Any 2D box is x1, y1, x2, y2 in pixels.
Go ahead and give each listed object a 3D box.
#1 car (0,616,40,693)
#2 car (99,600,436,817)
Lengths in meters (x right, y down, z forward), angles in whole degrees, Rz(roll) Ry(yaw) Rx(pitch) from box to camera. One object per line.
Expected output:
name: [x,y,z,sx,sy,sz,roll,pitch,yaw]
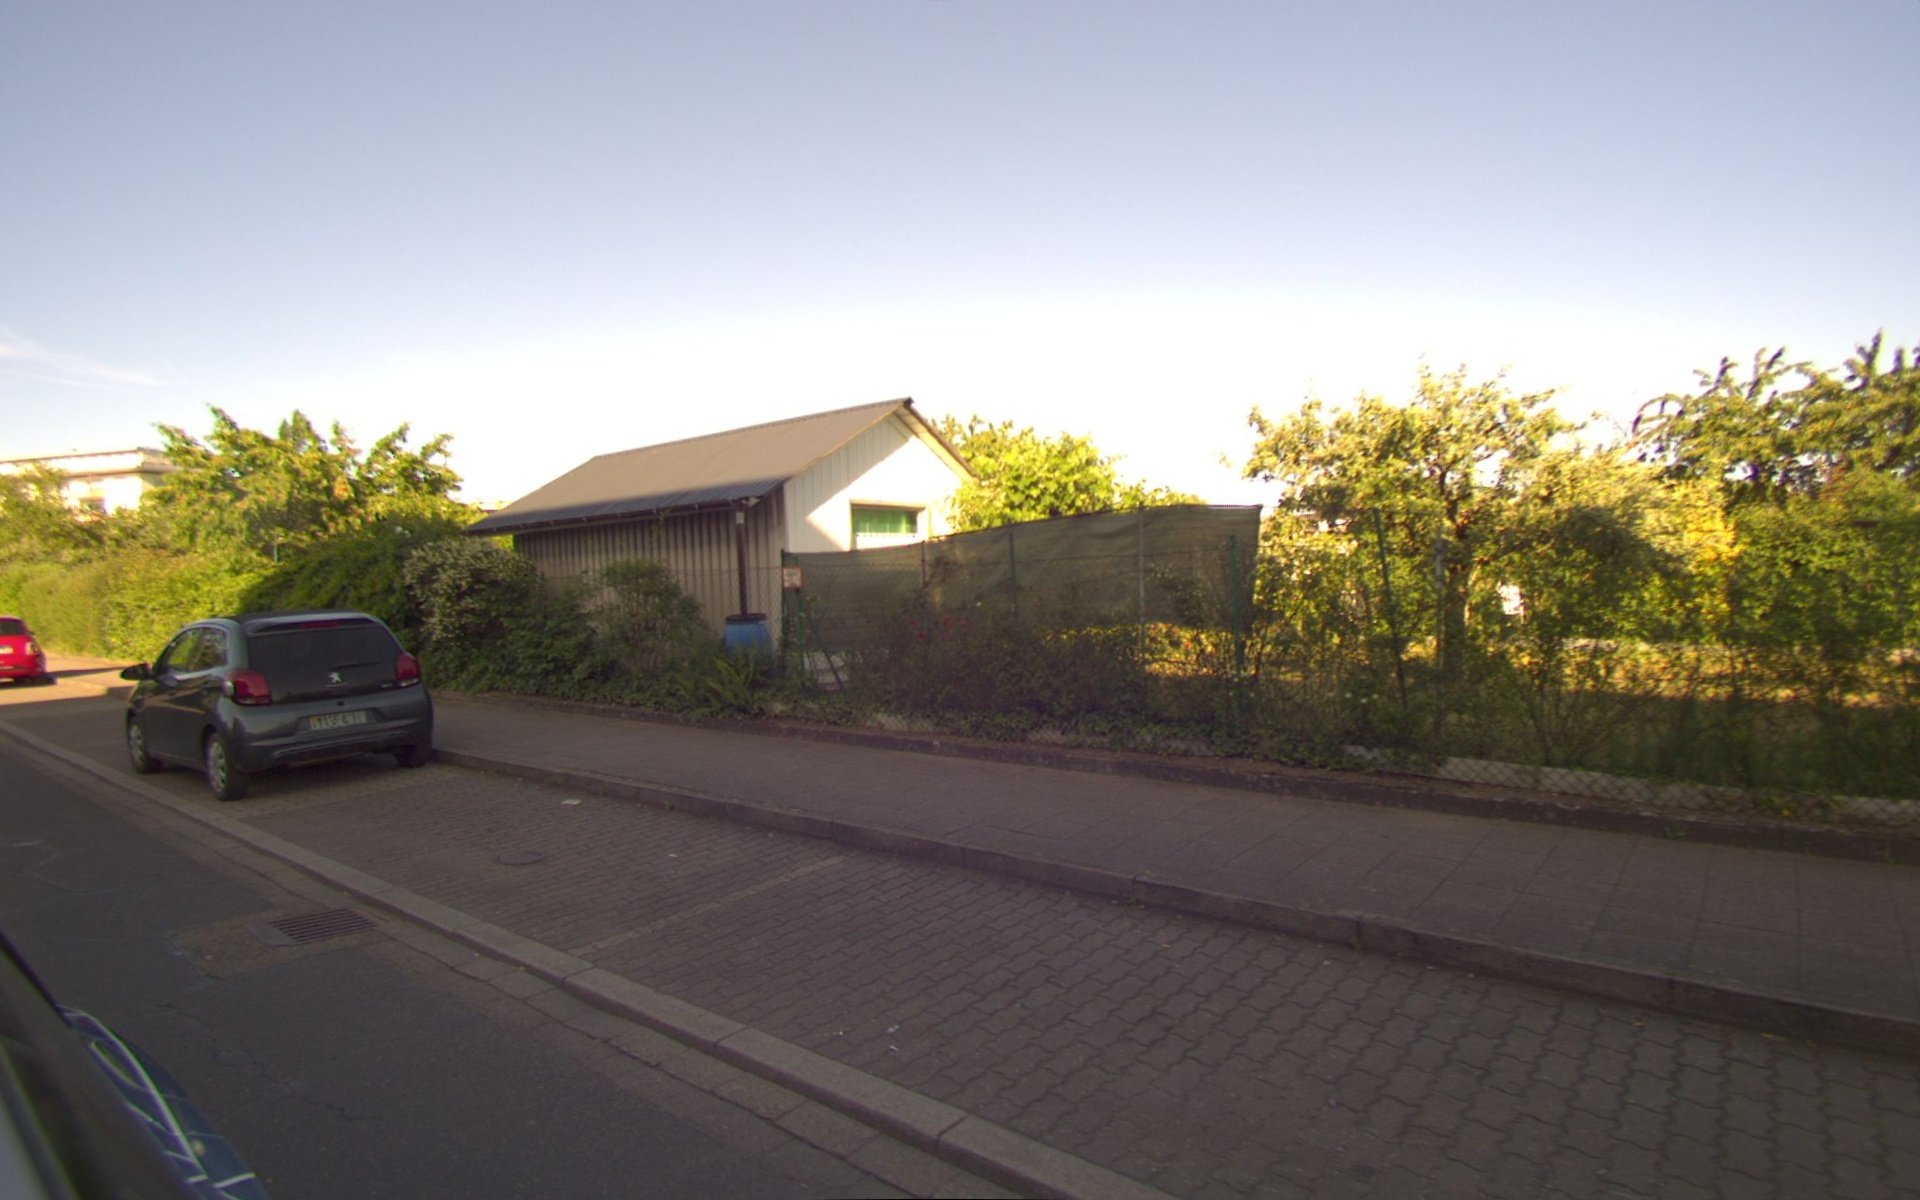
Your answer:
car: [-20.378,1.120,20.905,3.567,1.506,1.544,-1,0,40]
car: [-6.416,0.842,9.253,3.567,1.505,1.544,-1,3,40]
